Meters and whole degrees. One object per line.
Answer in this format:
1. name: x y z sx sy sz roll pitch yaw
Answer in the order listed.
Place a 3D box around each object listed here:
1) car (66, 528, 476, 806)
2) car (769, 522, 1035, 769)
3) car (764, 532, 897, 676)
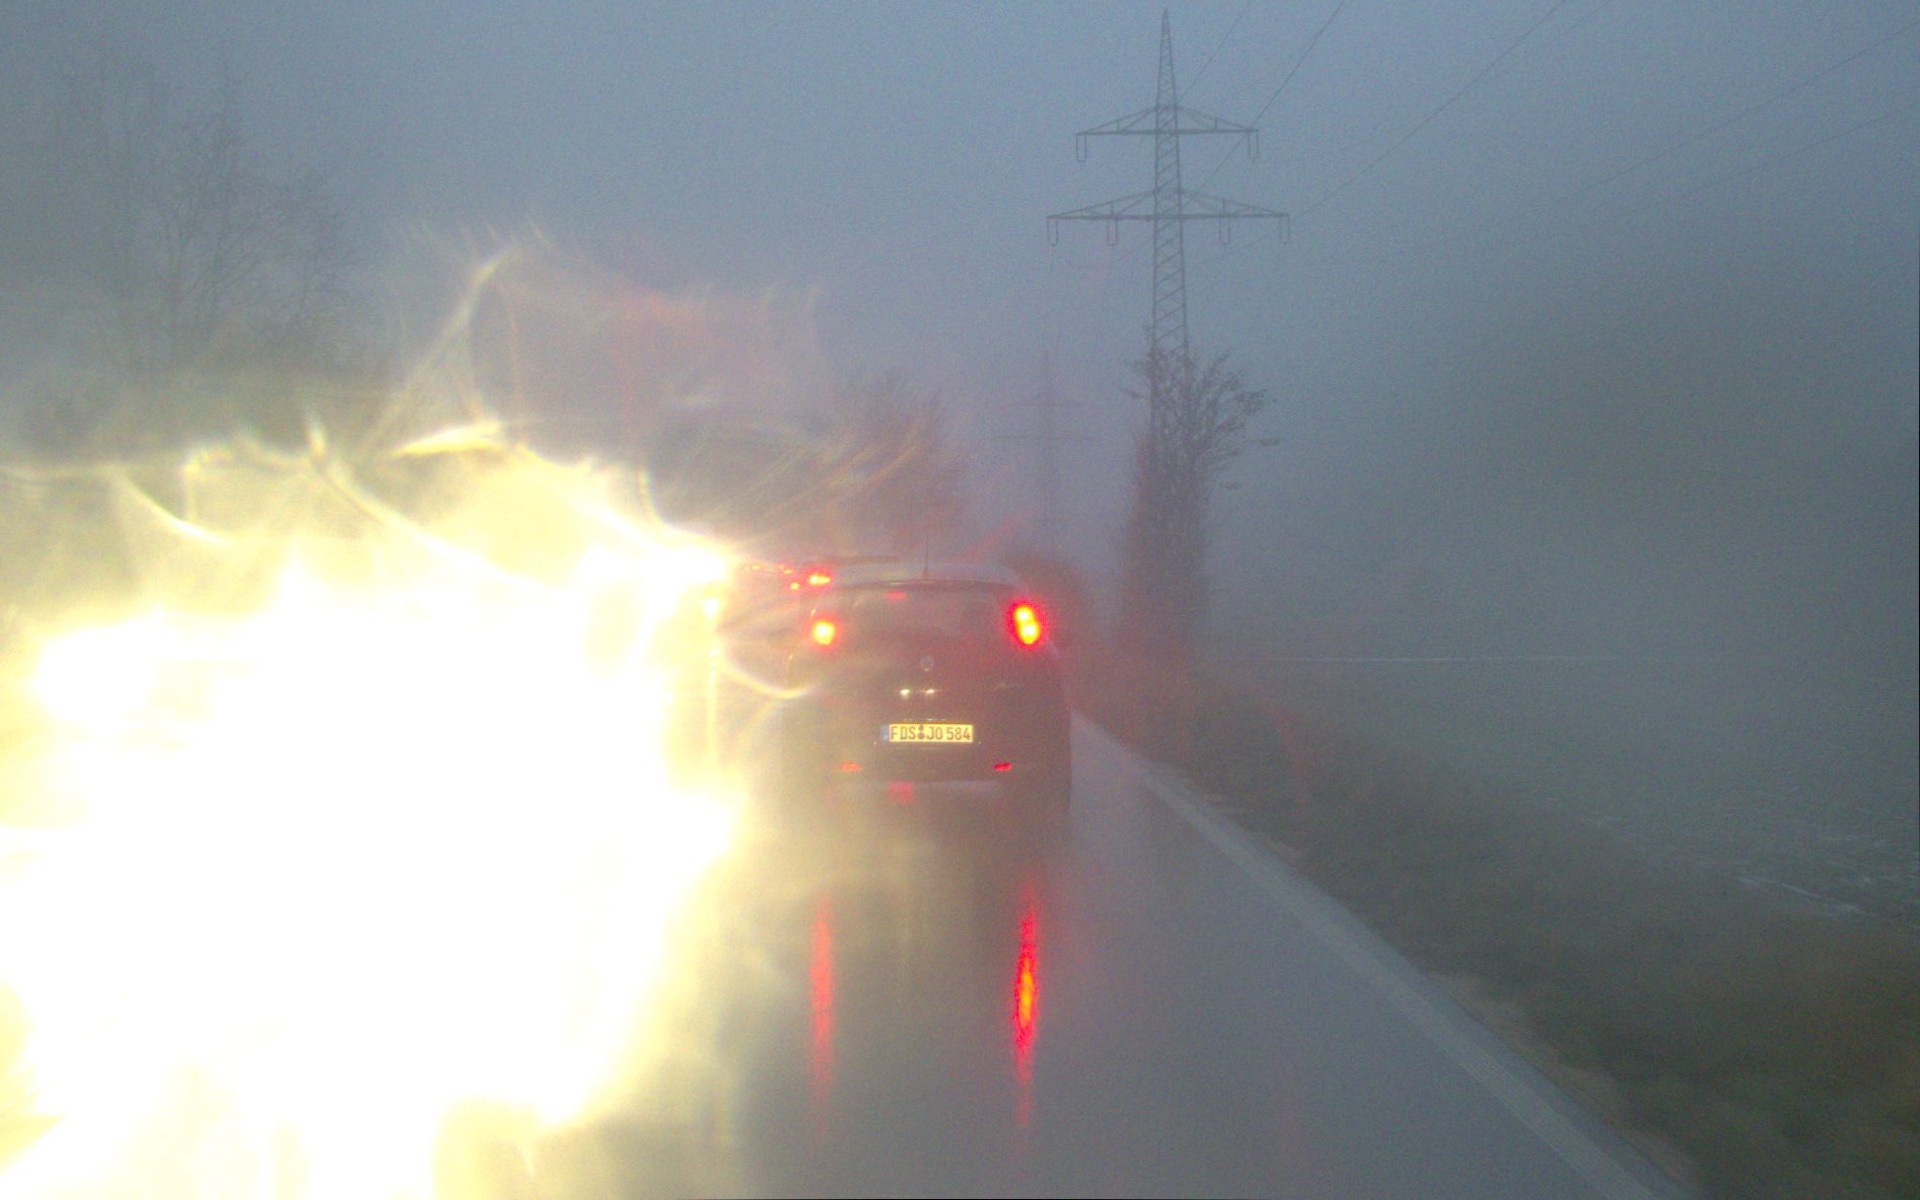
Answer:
1. car: -4.282 0.347 22.034 1.785 1.585 4.486 0 1 -1
2. car: -0.414 0.243 21.190 1.500 1.393 3.200 1 0 -3
3. car: -1.929 0.043 50.283 1.852 2.007 4.000 1 0 -3
